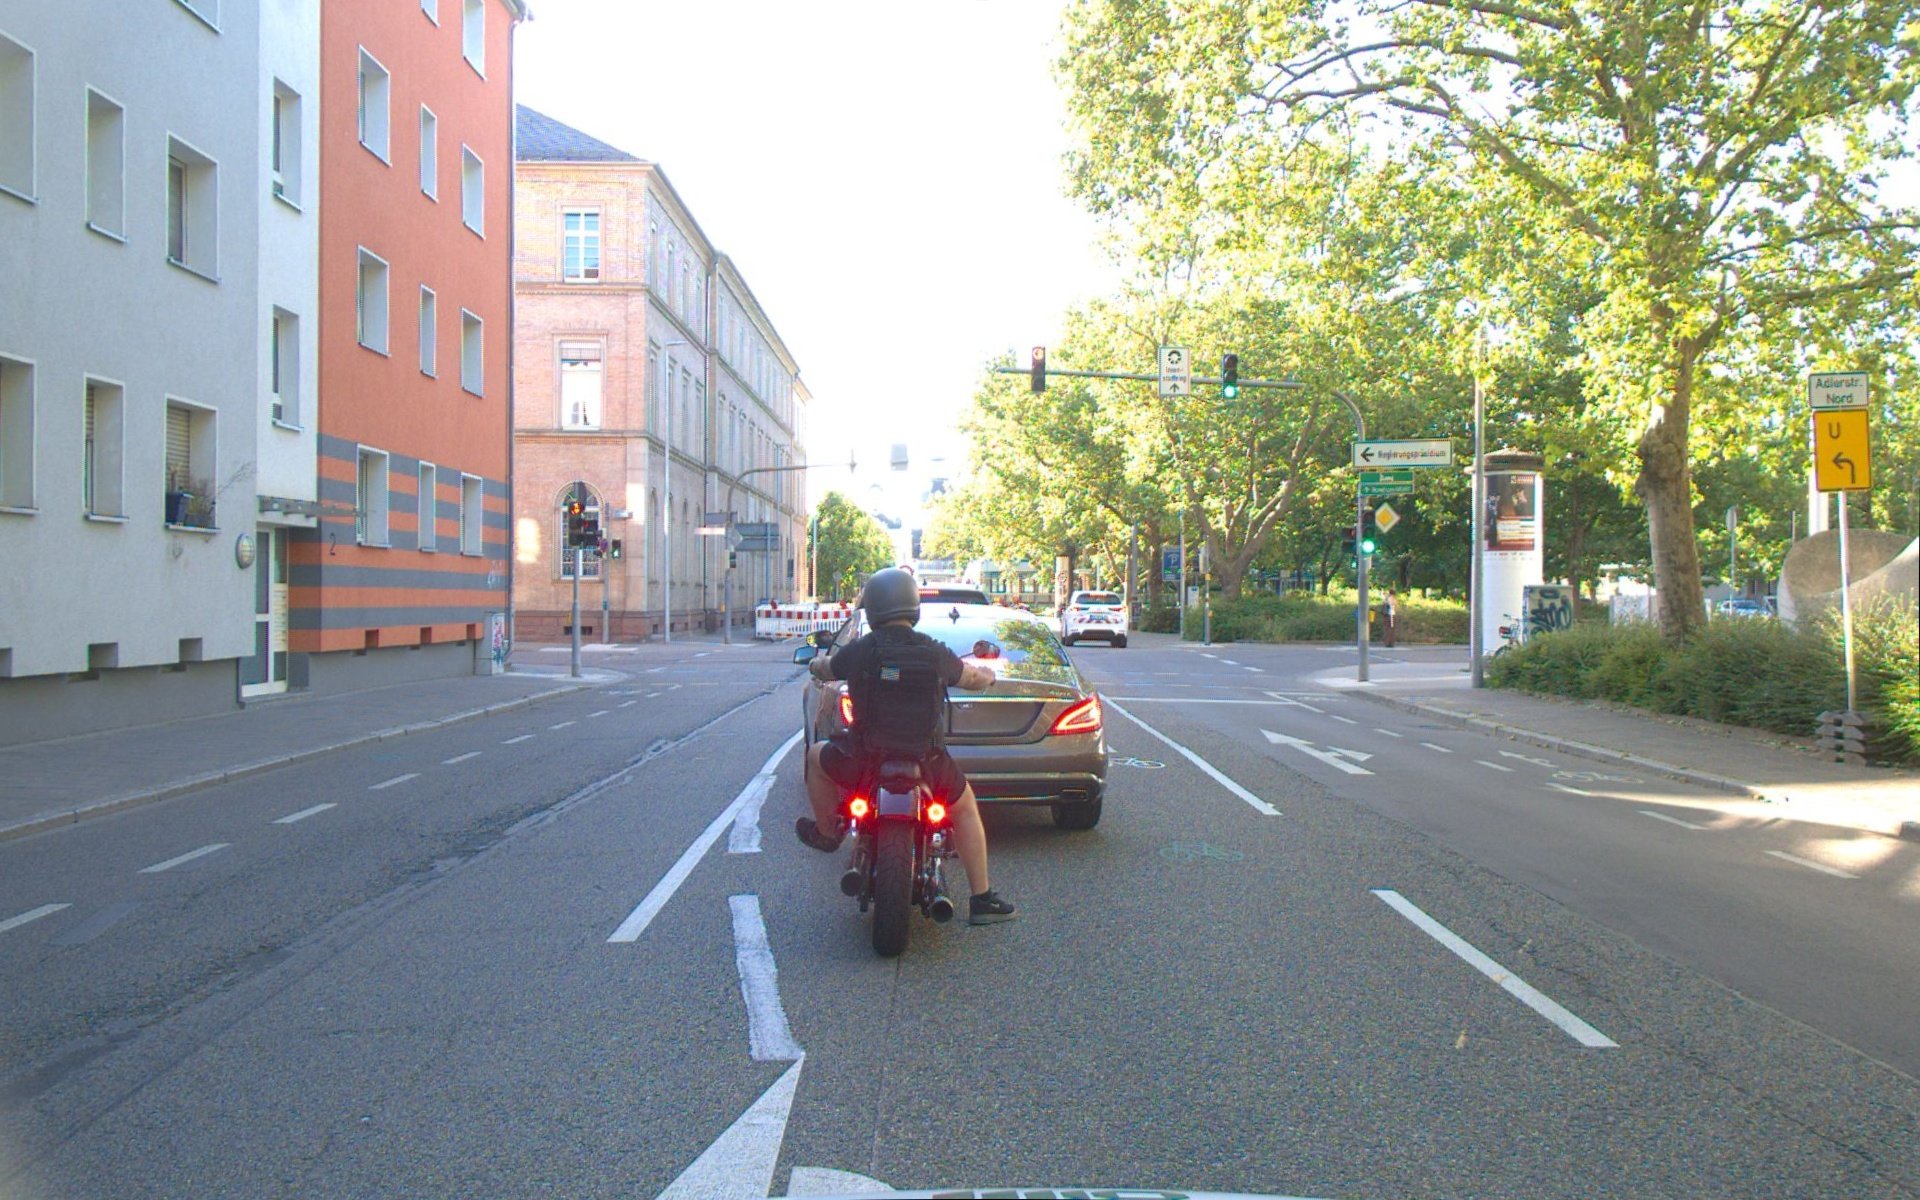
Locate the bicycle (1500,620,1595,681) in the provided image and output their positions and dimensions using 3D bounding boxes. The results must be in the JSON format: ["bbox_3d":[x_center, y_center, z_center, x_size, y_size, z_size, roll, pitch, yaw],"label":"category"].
[{"bbox_3d":[9.790,0.838,27.596,1.452,0.997,0.299,1,-1,5],"label":"bicycle"}]

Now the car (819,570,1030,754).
[{"bbox_3d":[-0.358,0.588,17.539,1.953,1.695,3.999,1,0,-1],"label":"car"}]

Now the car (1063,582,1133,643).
[{"bbox_3d":[4.231,0.355,51.328,1.903,1.738,4.484,2,0,2],"label":"car"}]

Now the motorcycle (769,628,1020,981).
[{"bbox_3d":[-0.267,0.805,7.551,0.961,1.297,2.407,0,0,-1],"label":"motorcycle"}]

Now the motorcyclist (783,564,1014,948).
[{"bbox_3d":[-0.264,0.649,7.545,0.961,1.606,1.248,0,0,-1],"label":"motorcyclist"}]

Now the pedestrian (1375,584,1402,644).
[{"bbox_3d":[13.151,0.427,50.723,0.664,1.803,0.616,1,-1,29],"label":"pedestrian"}]

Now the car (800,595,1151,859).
[{"bbox_3d":[-0.110,0.709,11.619,1.834,1.469,4.422,0,0,-8],"label":"car"}]
